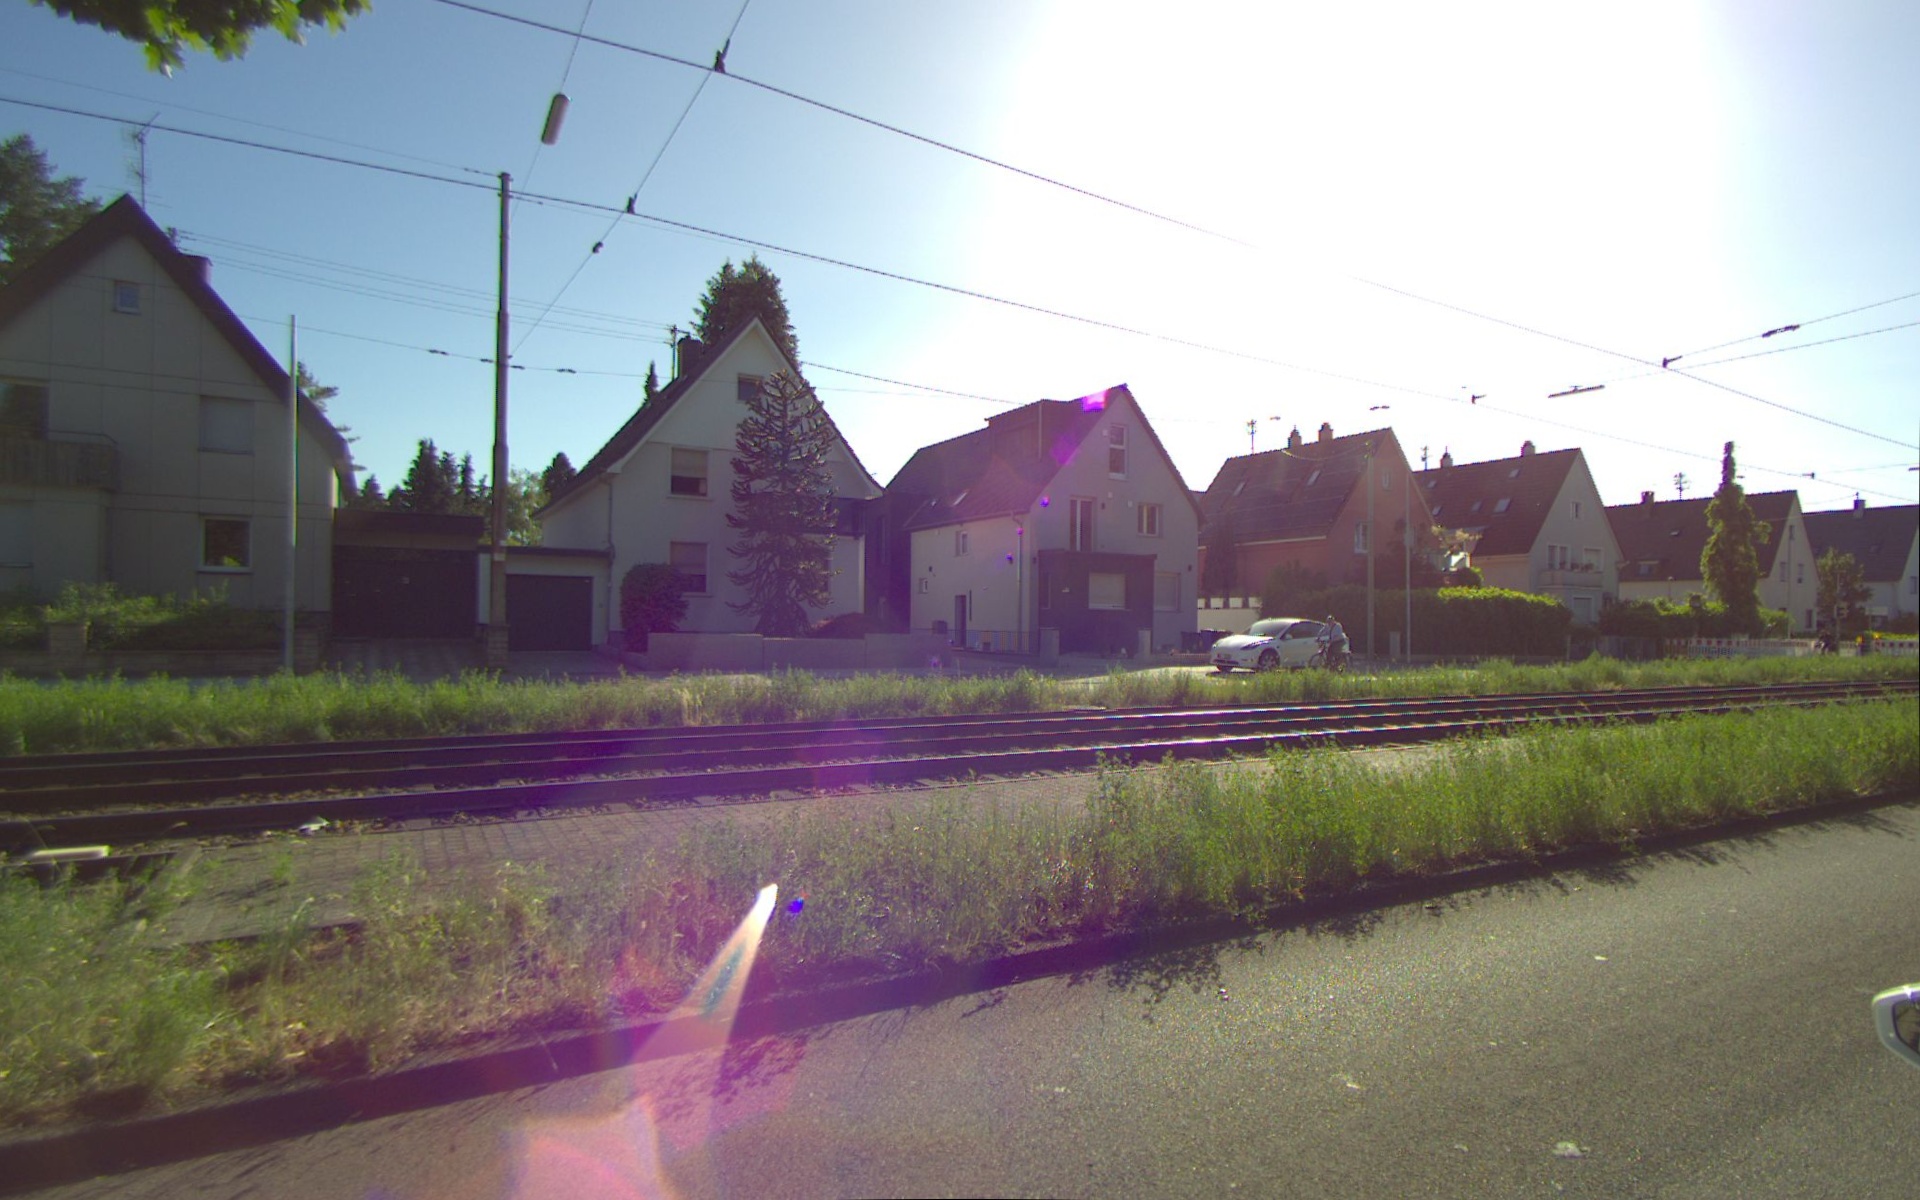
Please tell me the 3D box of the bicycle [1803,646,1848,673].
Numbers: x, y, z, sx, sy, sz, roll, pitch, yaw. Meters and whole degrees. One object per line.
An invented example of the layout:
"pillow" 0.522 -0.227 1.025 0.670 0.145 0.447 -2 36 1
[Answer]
"bicycle" 39.128 2.691 45.400 2.282 1.149 0.847 2 0 -30

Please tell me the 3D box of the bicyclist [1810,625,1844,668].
"bicyclist" 39.204 2.096 45.424 1.059 1.912 0.847 2 0 -30

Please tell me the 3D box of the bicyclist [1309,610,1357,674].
"bicyclist" 10.228 1.145 27.555 0.827 1.696 0.847 2 0 -30

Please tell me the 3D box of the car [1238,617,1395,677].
"car" 11.125 1.458 31.256 4.783 1.700 1.984 2 0 -30

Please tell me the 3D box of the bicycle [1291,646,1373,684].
"bicycle" 10.206 1.777 27.559 2.282 0.964 0.847 2 0 -30
